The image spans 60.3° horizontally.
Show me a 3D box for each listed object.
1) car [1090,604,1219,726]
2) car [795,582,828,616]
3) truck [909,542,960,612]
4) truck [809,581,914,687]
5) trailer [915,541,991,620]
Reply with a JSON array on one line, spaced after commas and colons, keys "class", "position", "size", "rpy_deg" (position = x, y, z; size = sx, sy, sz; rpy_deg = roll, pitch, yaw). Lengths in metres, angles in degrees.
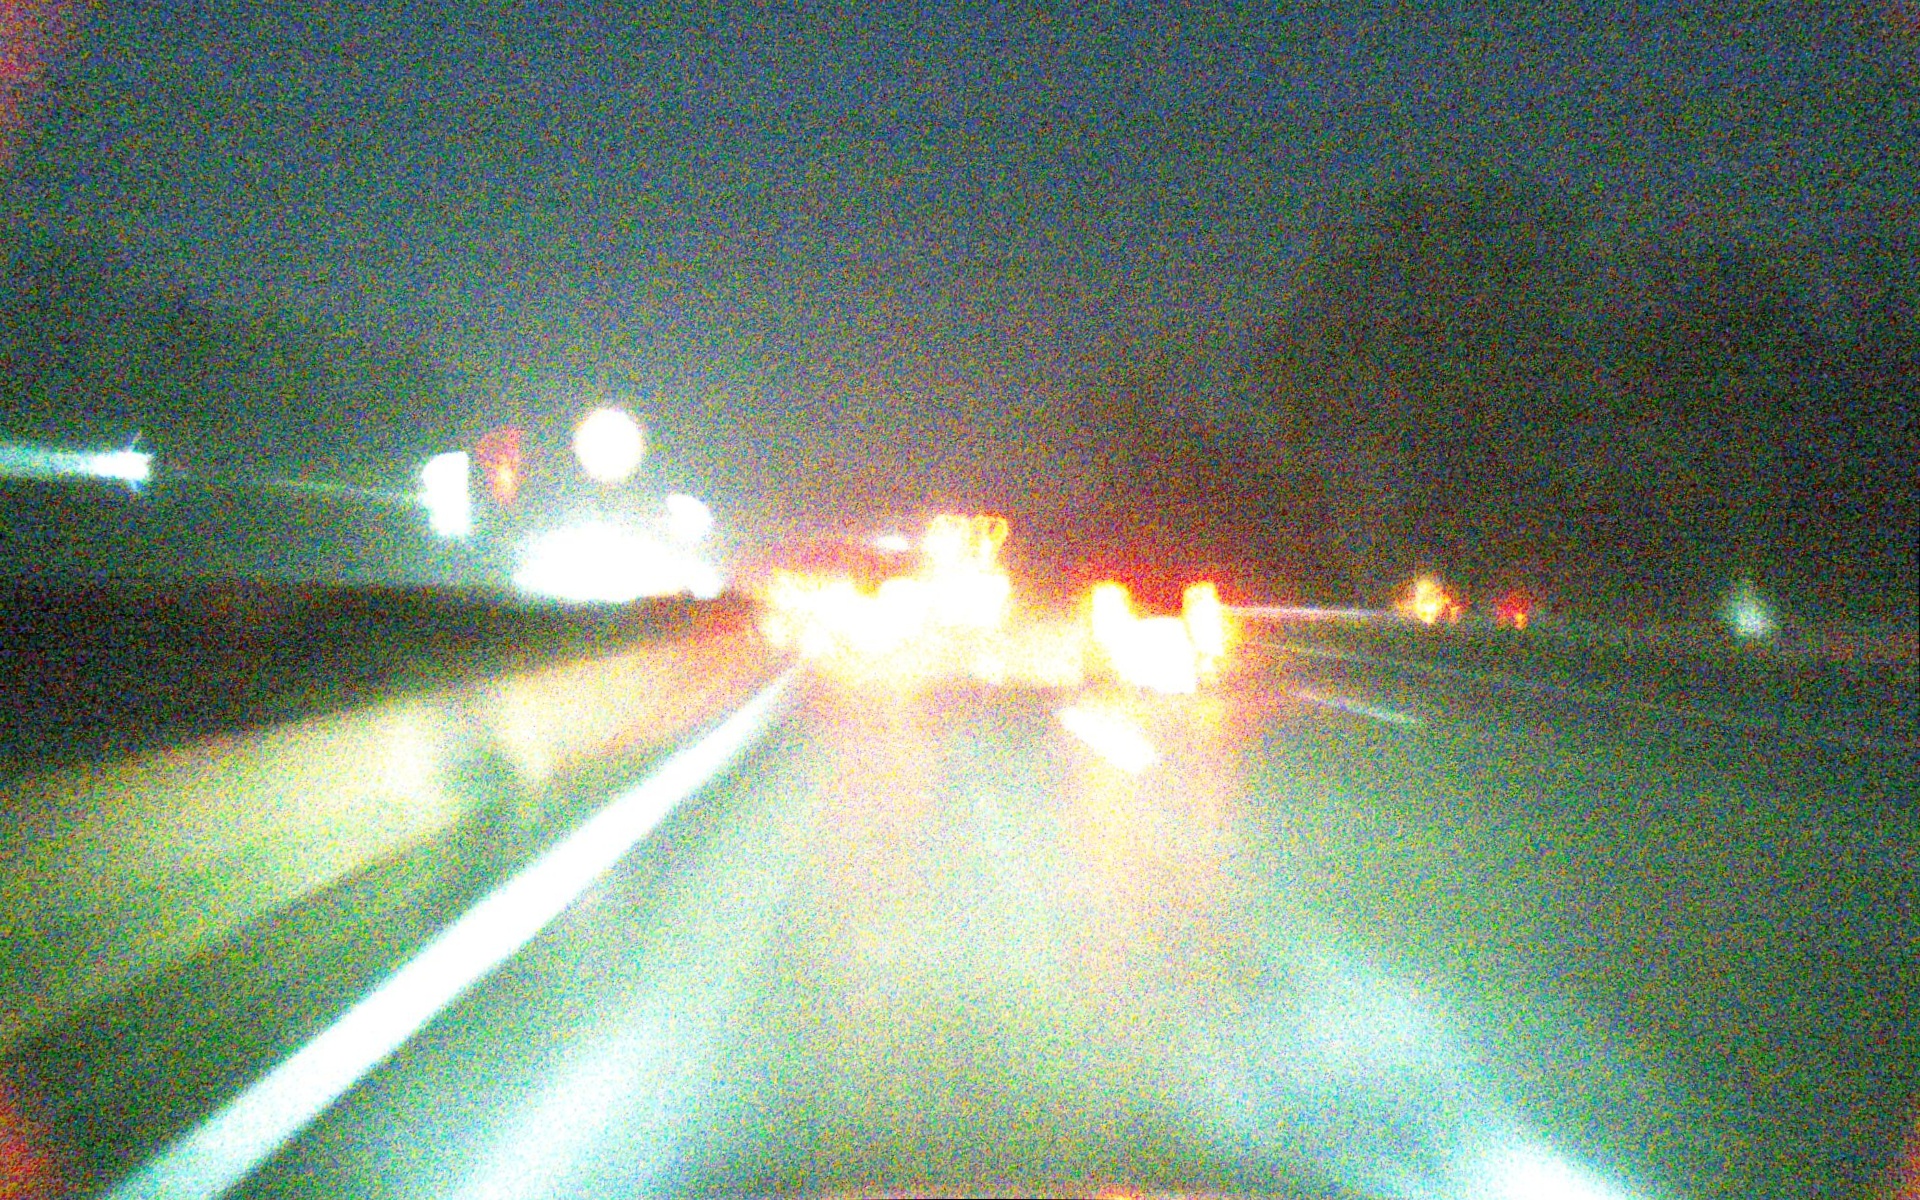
[{"class": "car", "position": [2.856, 0.906, 24.993], "size": [1.762, 1.645, 4.259], "rpy_deg": [0, 0, 5]}, {"class": "car", "position": [-9.596, -0.030, 106.988], "size": [1.954, 2.049, 3.996], "rpy_deg": [-2, -1, -4]}, {"class": "truck", "position": [-1.682, -1.540, 107.014], "size": [2.660, 4.314, 5.285], "rpy_deg": [0, 3, -8]}, {"class": "truck", "position": [-2.434, 0.697, 39.162], "size": [2.104, 2.113, 6.596], "rpy_deg": [4, 1, -6]}, {"class": "trailer", "position": [-0.563, -1.330, 100.882], "size": [2.688, 4.321, 13.349], "rpy_deg": [-2, 3, -8]}]
